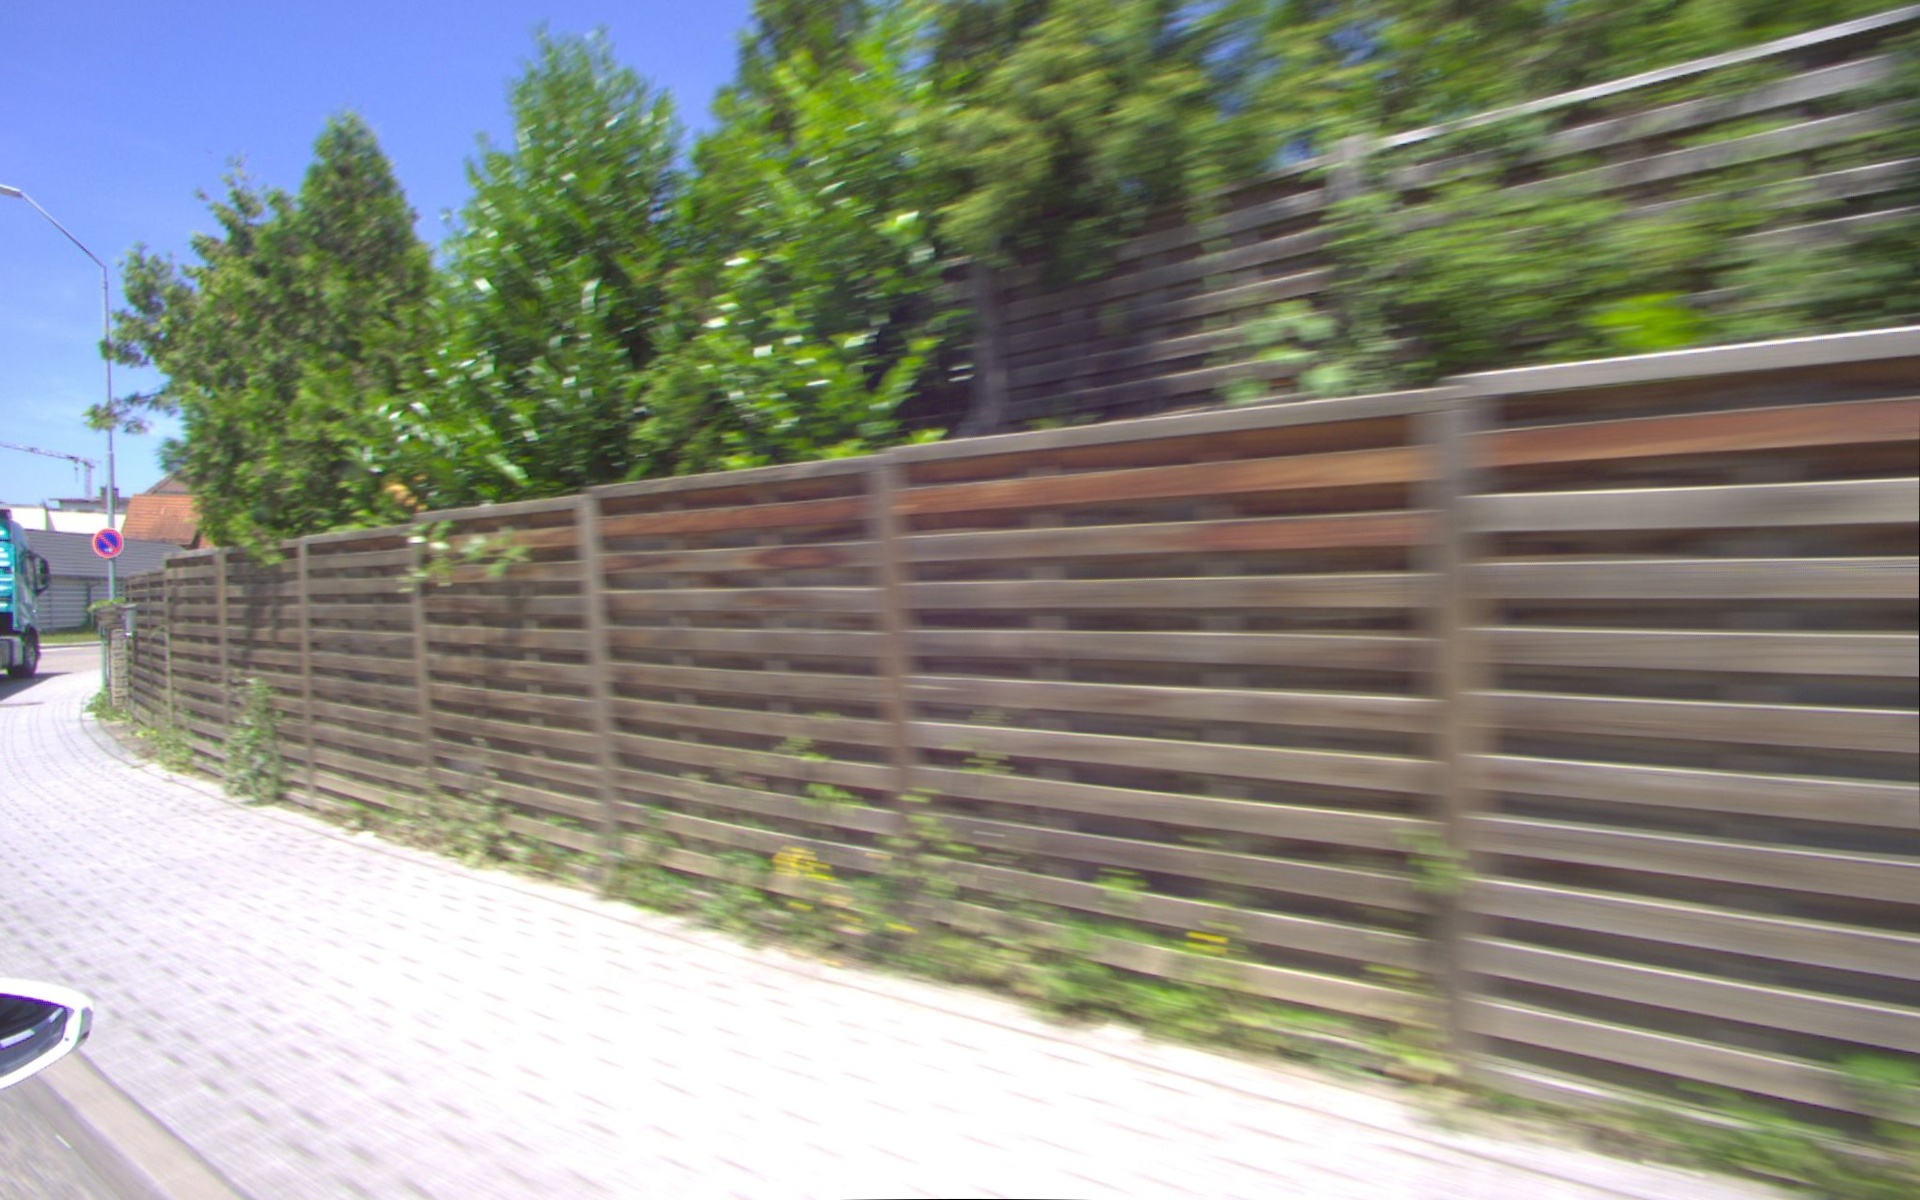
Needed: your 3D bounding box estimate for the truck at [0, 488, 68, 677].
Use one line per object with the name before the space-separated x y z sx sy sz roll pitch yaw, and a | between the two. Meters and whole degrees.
truck | -22.976 -0.356 22.733 2.955 4.017 5.548 0 0 -30
